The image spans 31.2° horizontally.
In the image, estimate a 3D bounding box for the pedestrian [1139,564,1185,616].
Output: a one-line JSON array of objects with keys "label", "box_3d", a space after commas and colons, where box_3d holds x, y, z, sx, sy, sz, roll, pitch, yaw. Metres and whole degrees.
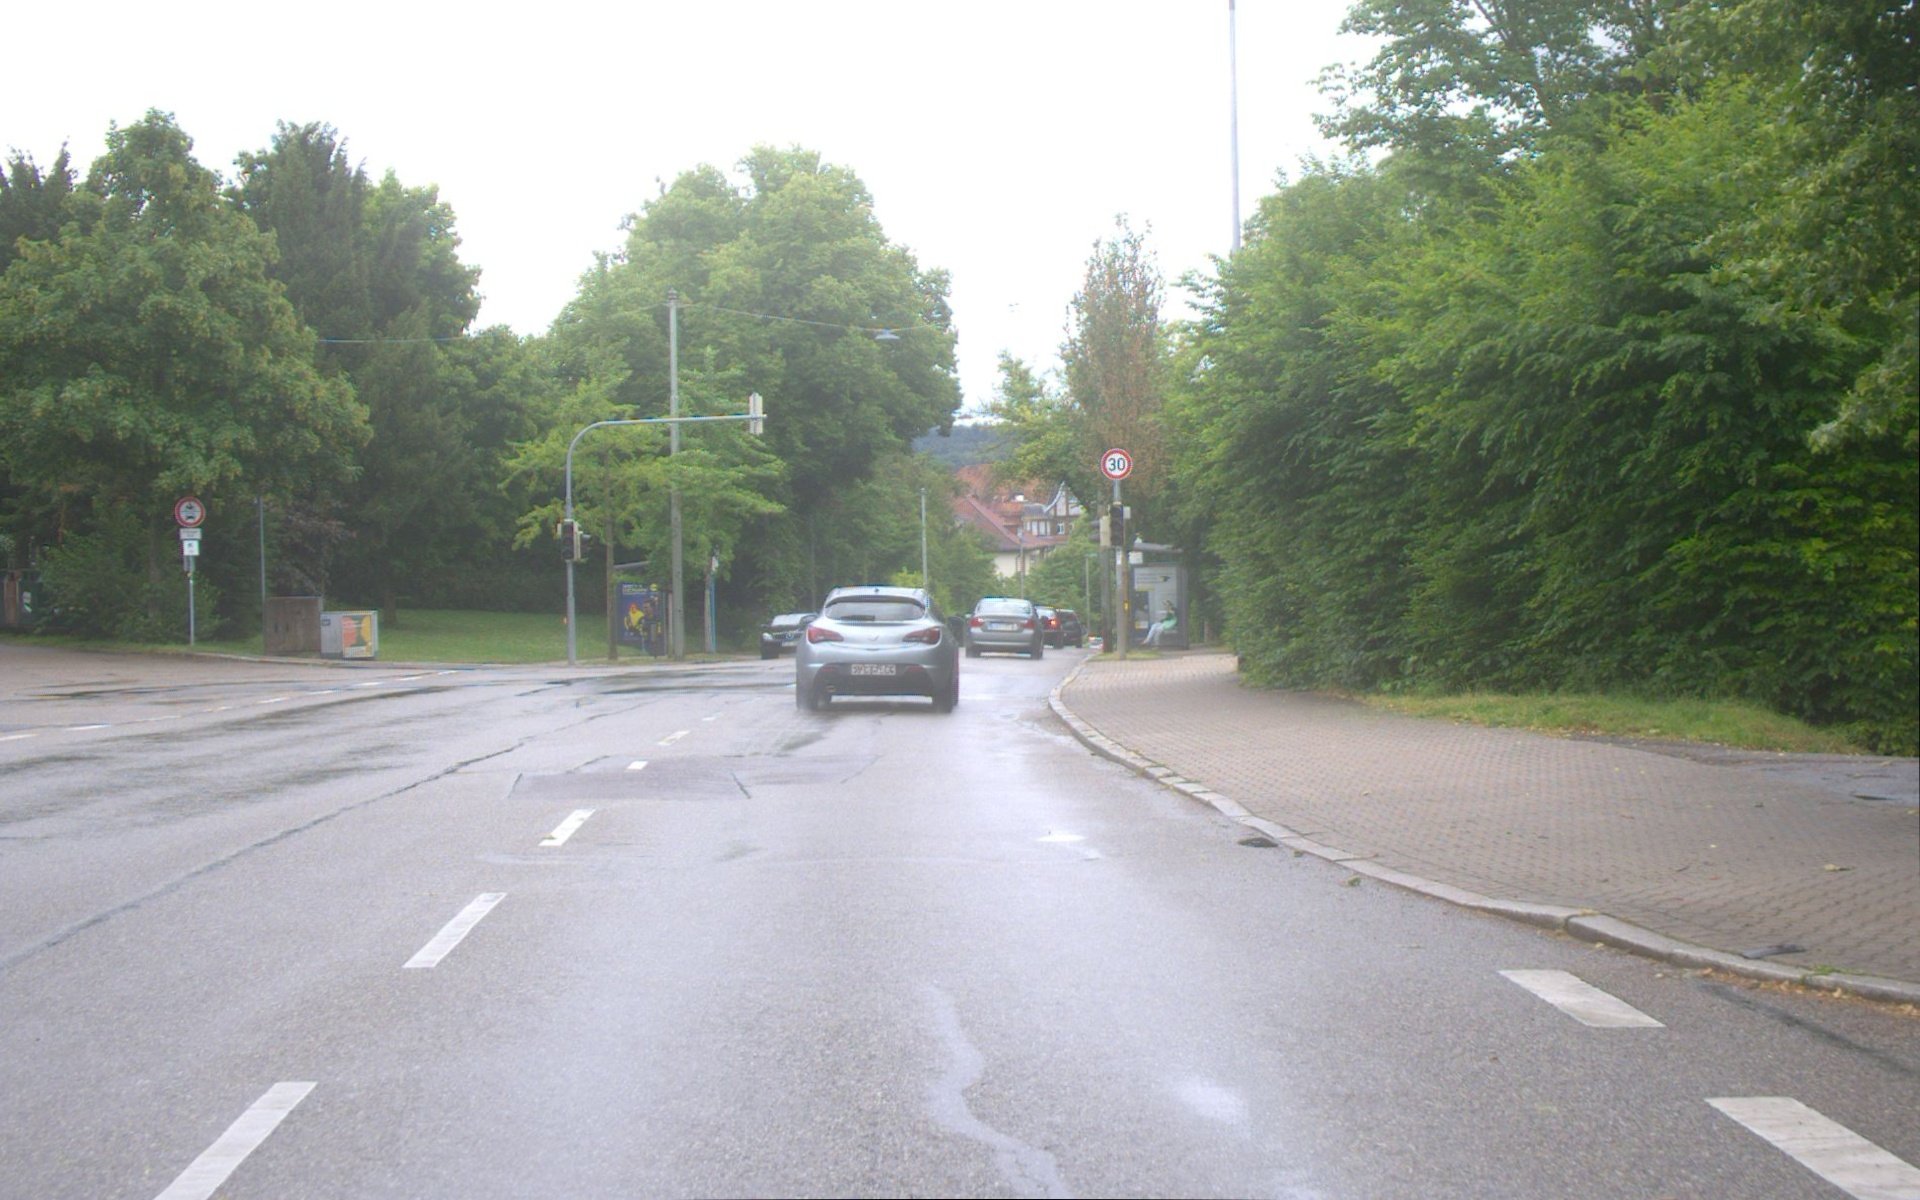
[{"label": "pedestrian", "box_3d": [5.454, -0.269, 92.749, 1.074, 1.351, 0.918, -2, 0, 10]}]

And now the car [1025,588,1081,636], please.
[{"label": "car", "box_3d": [3.014, 0.385, 111.610, 1.721, 1.459, 4.000, 2, 0, 2]}]

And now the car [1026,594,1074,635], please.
[{"label": "car", "box_3d": [3.407, 0.546, 129.750, 1.721, 1.459, 4.000, 2, 0, 2]}]

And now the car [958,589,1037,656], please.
[{"label": "car", "box_3d": [0.911, 0.504, 80.878, 1.721, 1.459, 4.000, 2, 0, 2]}]

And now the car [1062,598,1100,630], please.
[{"label": "car", "box_3d": [5.749, 0.656, 163.190, 1.721, 1.459, 4.000, 2, 0, 2]}]

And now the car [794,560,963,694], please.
[{"label": "car", "box_3d": [-0.931, 0.285, 41.159, 1.754, 1.459, 4.000, 1, 1, 2]}]

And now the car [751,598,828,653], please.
[{"label": "car", "box_3d": [-4.748, 0.696, 96.190, 1.661, 1.302, 4.083, -2, 2, 3]}]
